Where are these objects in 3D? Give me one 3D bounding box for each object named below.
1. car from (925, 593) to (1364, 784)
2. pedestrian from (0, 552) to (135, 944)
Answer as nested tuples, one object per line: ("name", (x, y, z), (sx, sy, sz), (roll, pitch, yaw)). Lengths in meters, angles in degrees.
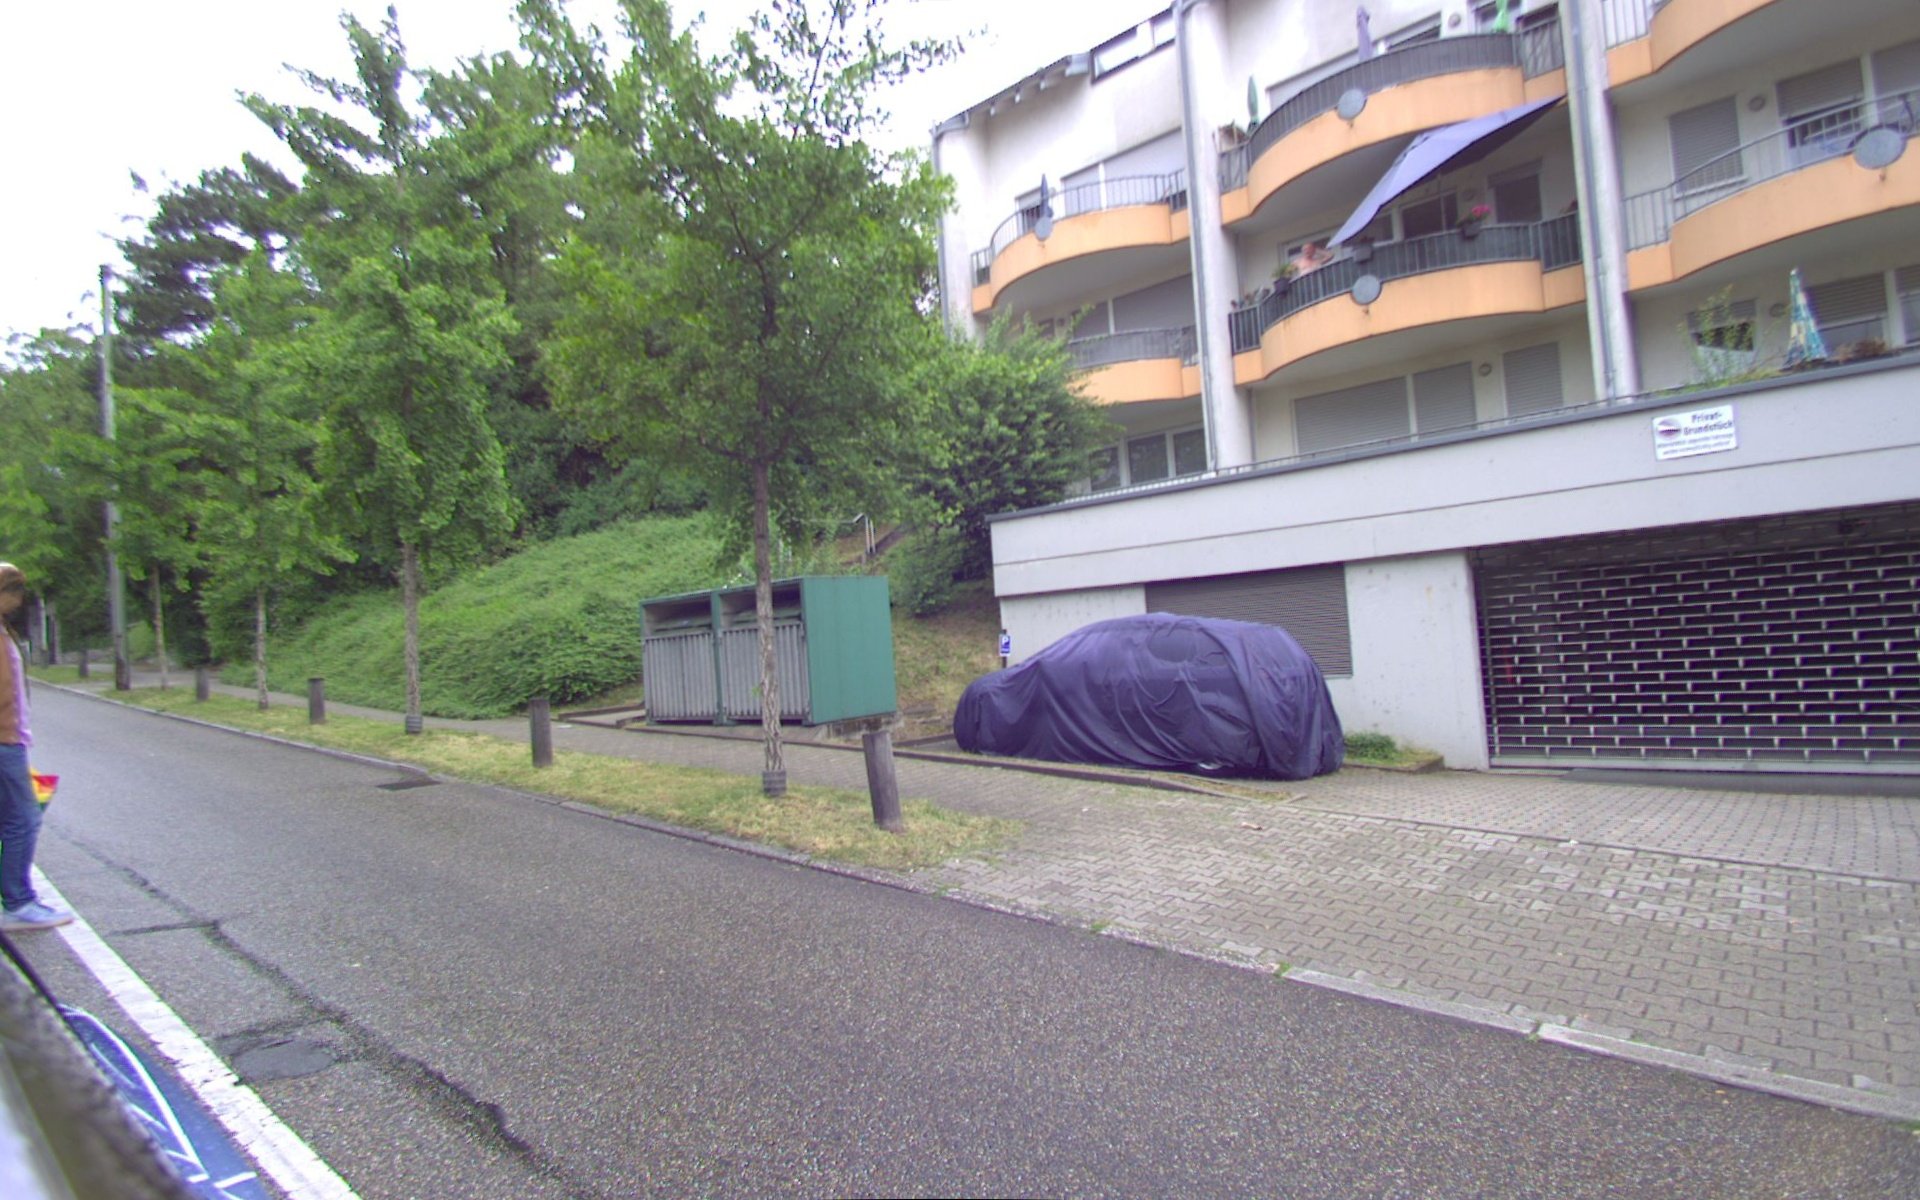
("car", (1.745, 0.824, 10.350), (4.096, 1.573, 1.759), (-2, -5, 41))
("pedestrian", (-4.735, 0.682, 4.905), (1.055, 1.795, 0.827), (1, -1, -34))
